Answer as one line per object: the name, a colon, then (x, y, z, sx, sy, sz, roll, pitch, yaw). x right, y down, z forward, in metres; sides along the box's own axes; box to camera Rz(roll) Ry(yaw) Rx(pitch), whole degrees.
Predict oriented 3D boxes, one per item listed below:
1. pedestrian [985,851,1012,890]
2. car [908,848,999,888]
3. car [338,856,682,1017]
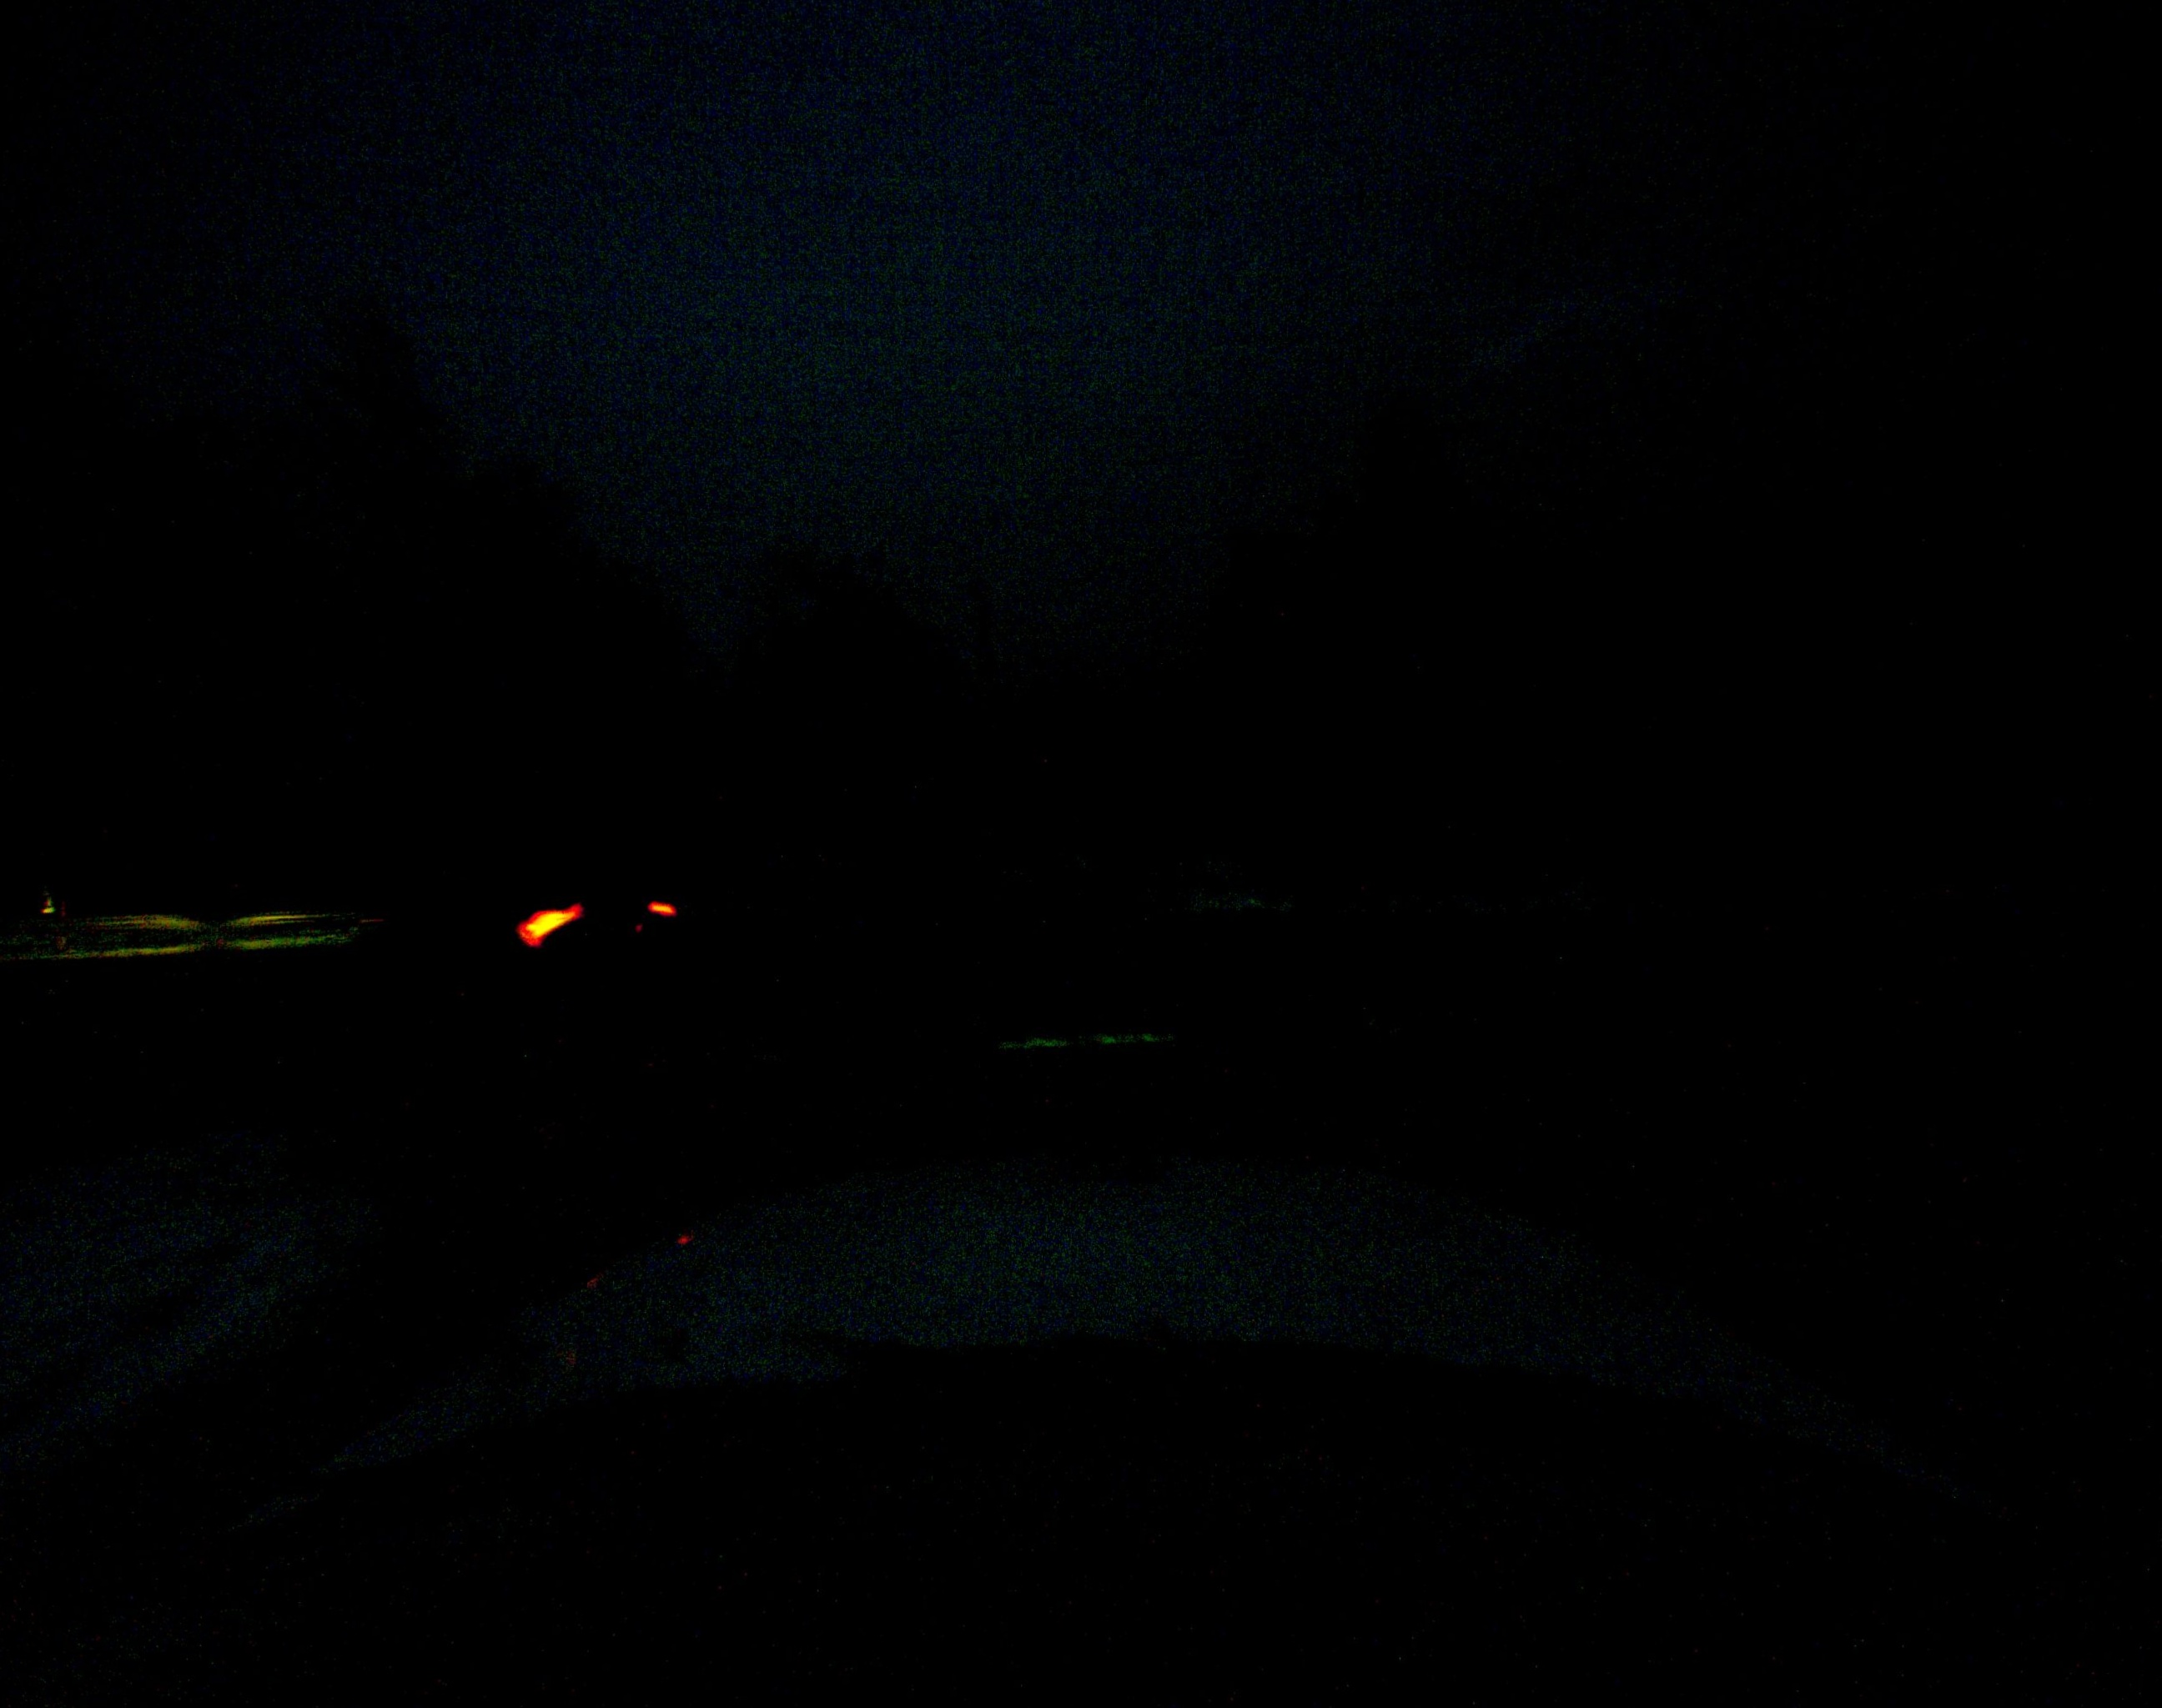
pedestrian: (-3.953, 0.808, 39.085, 0.953, 1.828, 0.929, 0, -2, 17)
car: (-6.241, 0.682, 39.956, 3.921, 1.881, 2.006, 0, -1, 12)
car: (-6.681, 0.836, 9.480, 3.807, 1.552, 1.708, -1, -1, 28)
